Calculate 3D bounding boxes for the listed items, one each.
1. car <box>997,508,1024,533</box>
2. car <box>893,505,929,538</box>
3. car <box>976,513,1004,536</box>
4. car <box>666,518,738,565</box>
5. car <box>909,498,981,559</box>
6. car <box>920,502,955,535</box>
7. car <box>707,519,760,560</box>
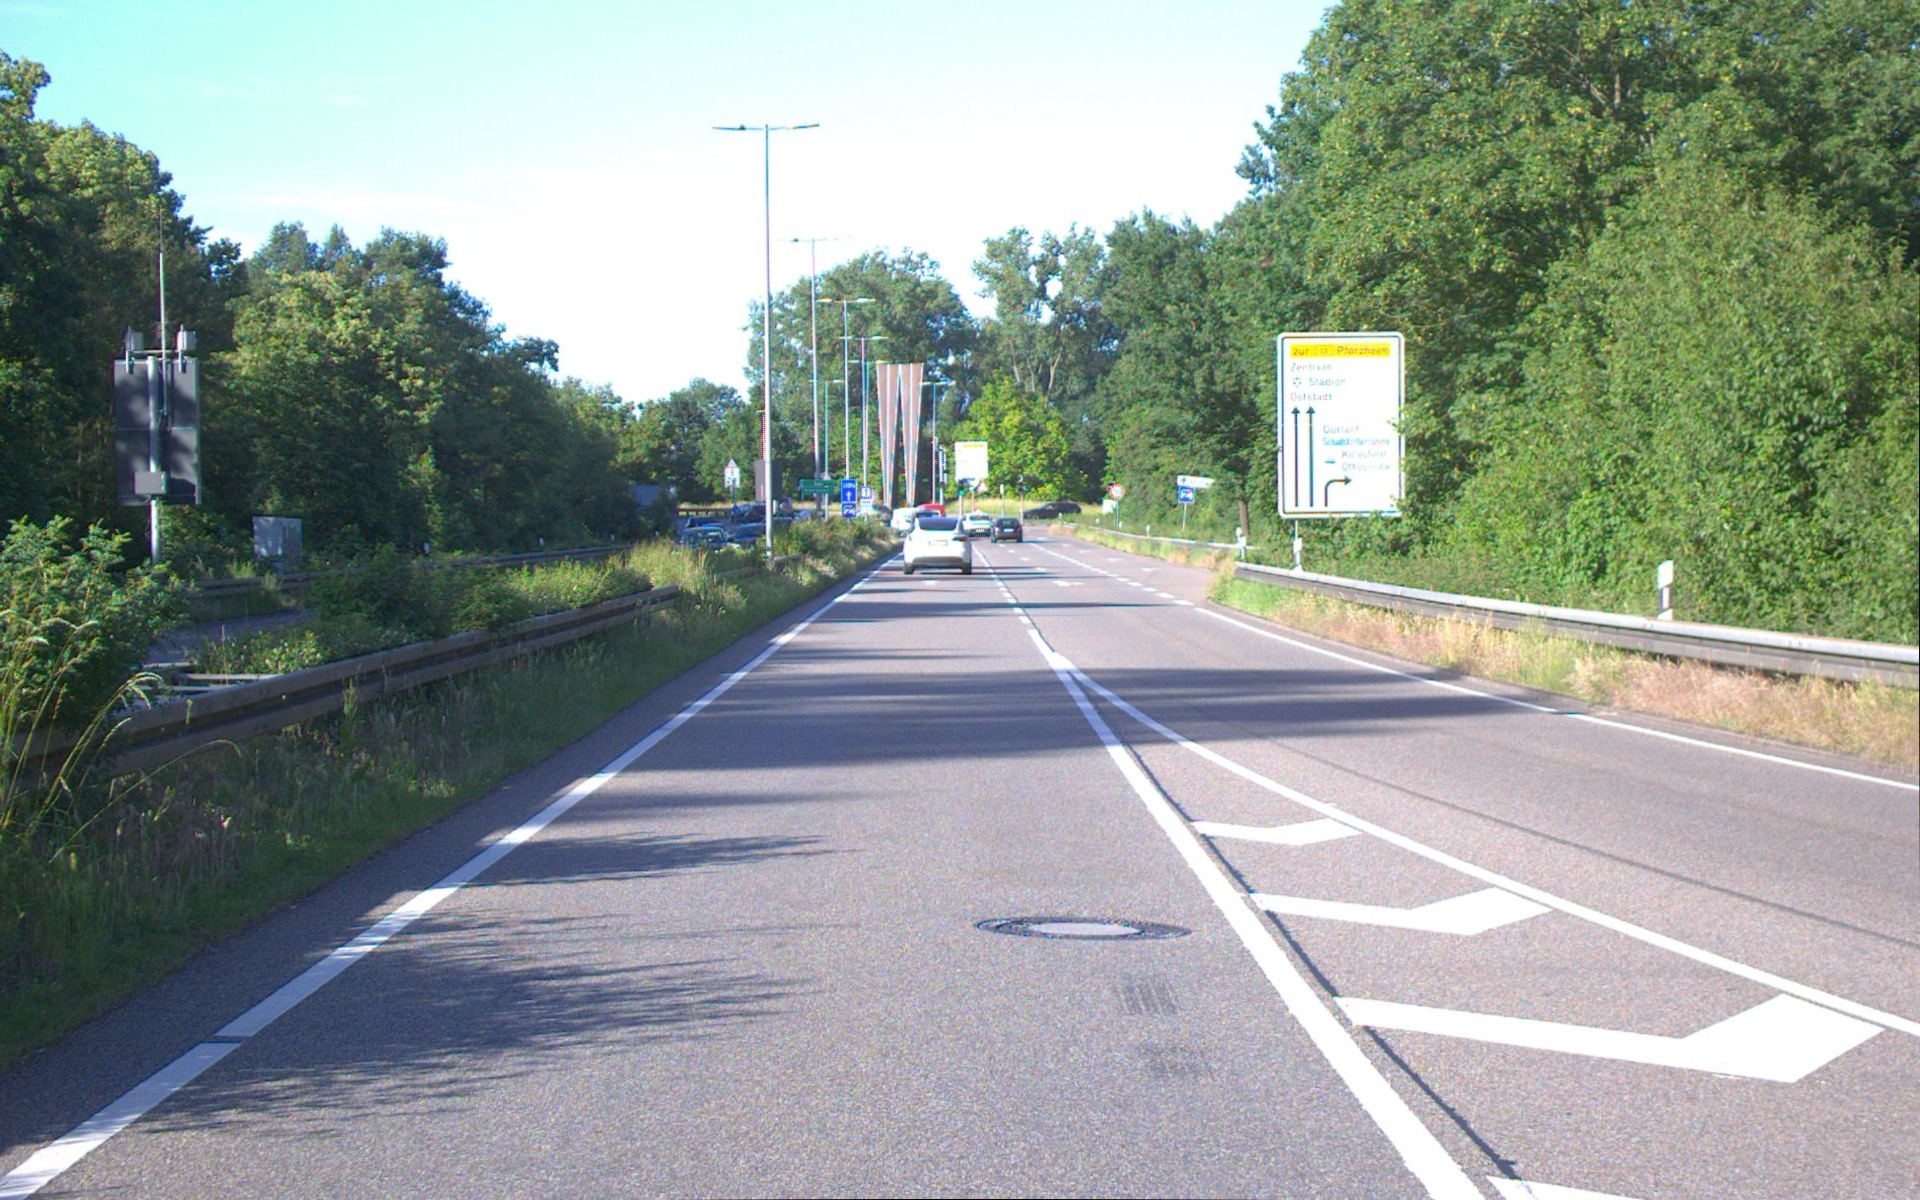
[{"bbox_3d":[2.811,-4.454,192.947,1.388,1.276,2.987,2,0,0],"label":"car"},{"bbox_3d":[-3.149,-5.045,220.822,1.993,2.007,4.001,1,1,-4],"label":"car"},{"bbox_3d":[1.830,-4.639,211.919,1.624,1.276,2.987,2,0,0],"label":"car"},{"bbox_3d":[-8.118,-1.847,108.372,1.781,1.398,4.553,-1,2,2],"label":"car"},{"bbox_3d":[-0.429,-2.050,97.909,1.993,1.634,4.129,-1,2,0],"label":"car"},{"bbox_3d":[-1.339,-4.818,203.021,1.993,1.873,4.250,-1,2,-1],"label":"car"},{"bbox_3d":[-8.853,-2.394,134.454,1.618,1.525,4.608,-1,2,2],"label":"car"}]
